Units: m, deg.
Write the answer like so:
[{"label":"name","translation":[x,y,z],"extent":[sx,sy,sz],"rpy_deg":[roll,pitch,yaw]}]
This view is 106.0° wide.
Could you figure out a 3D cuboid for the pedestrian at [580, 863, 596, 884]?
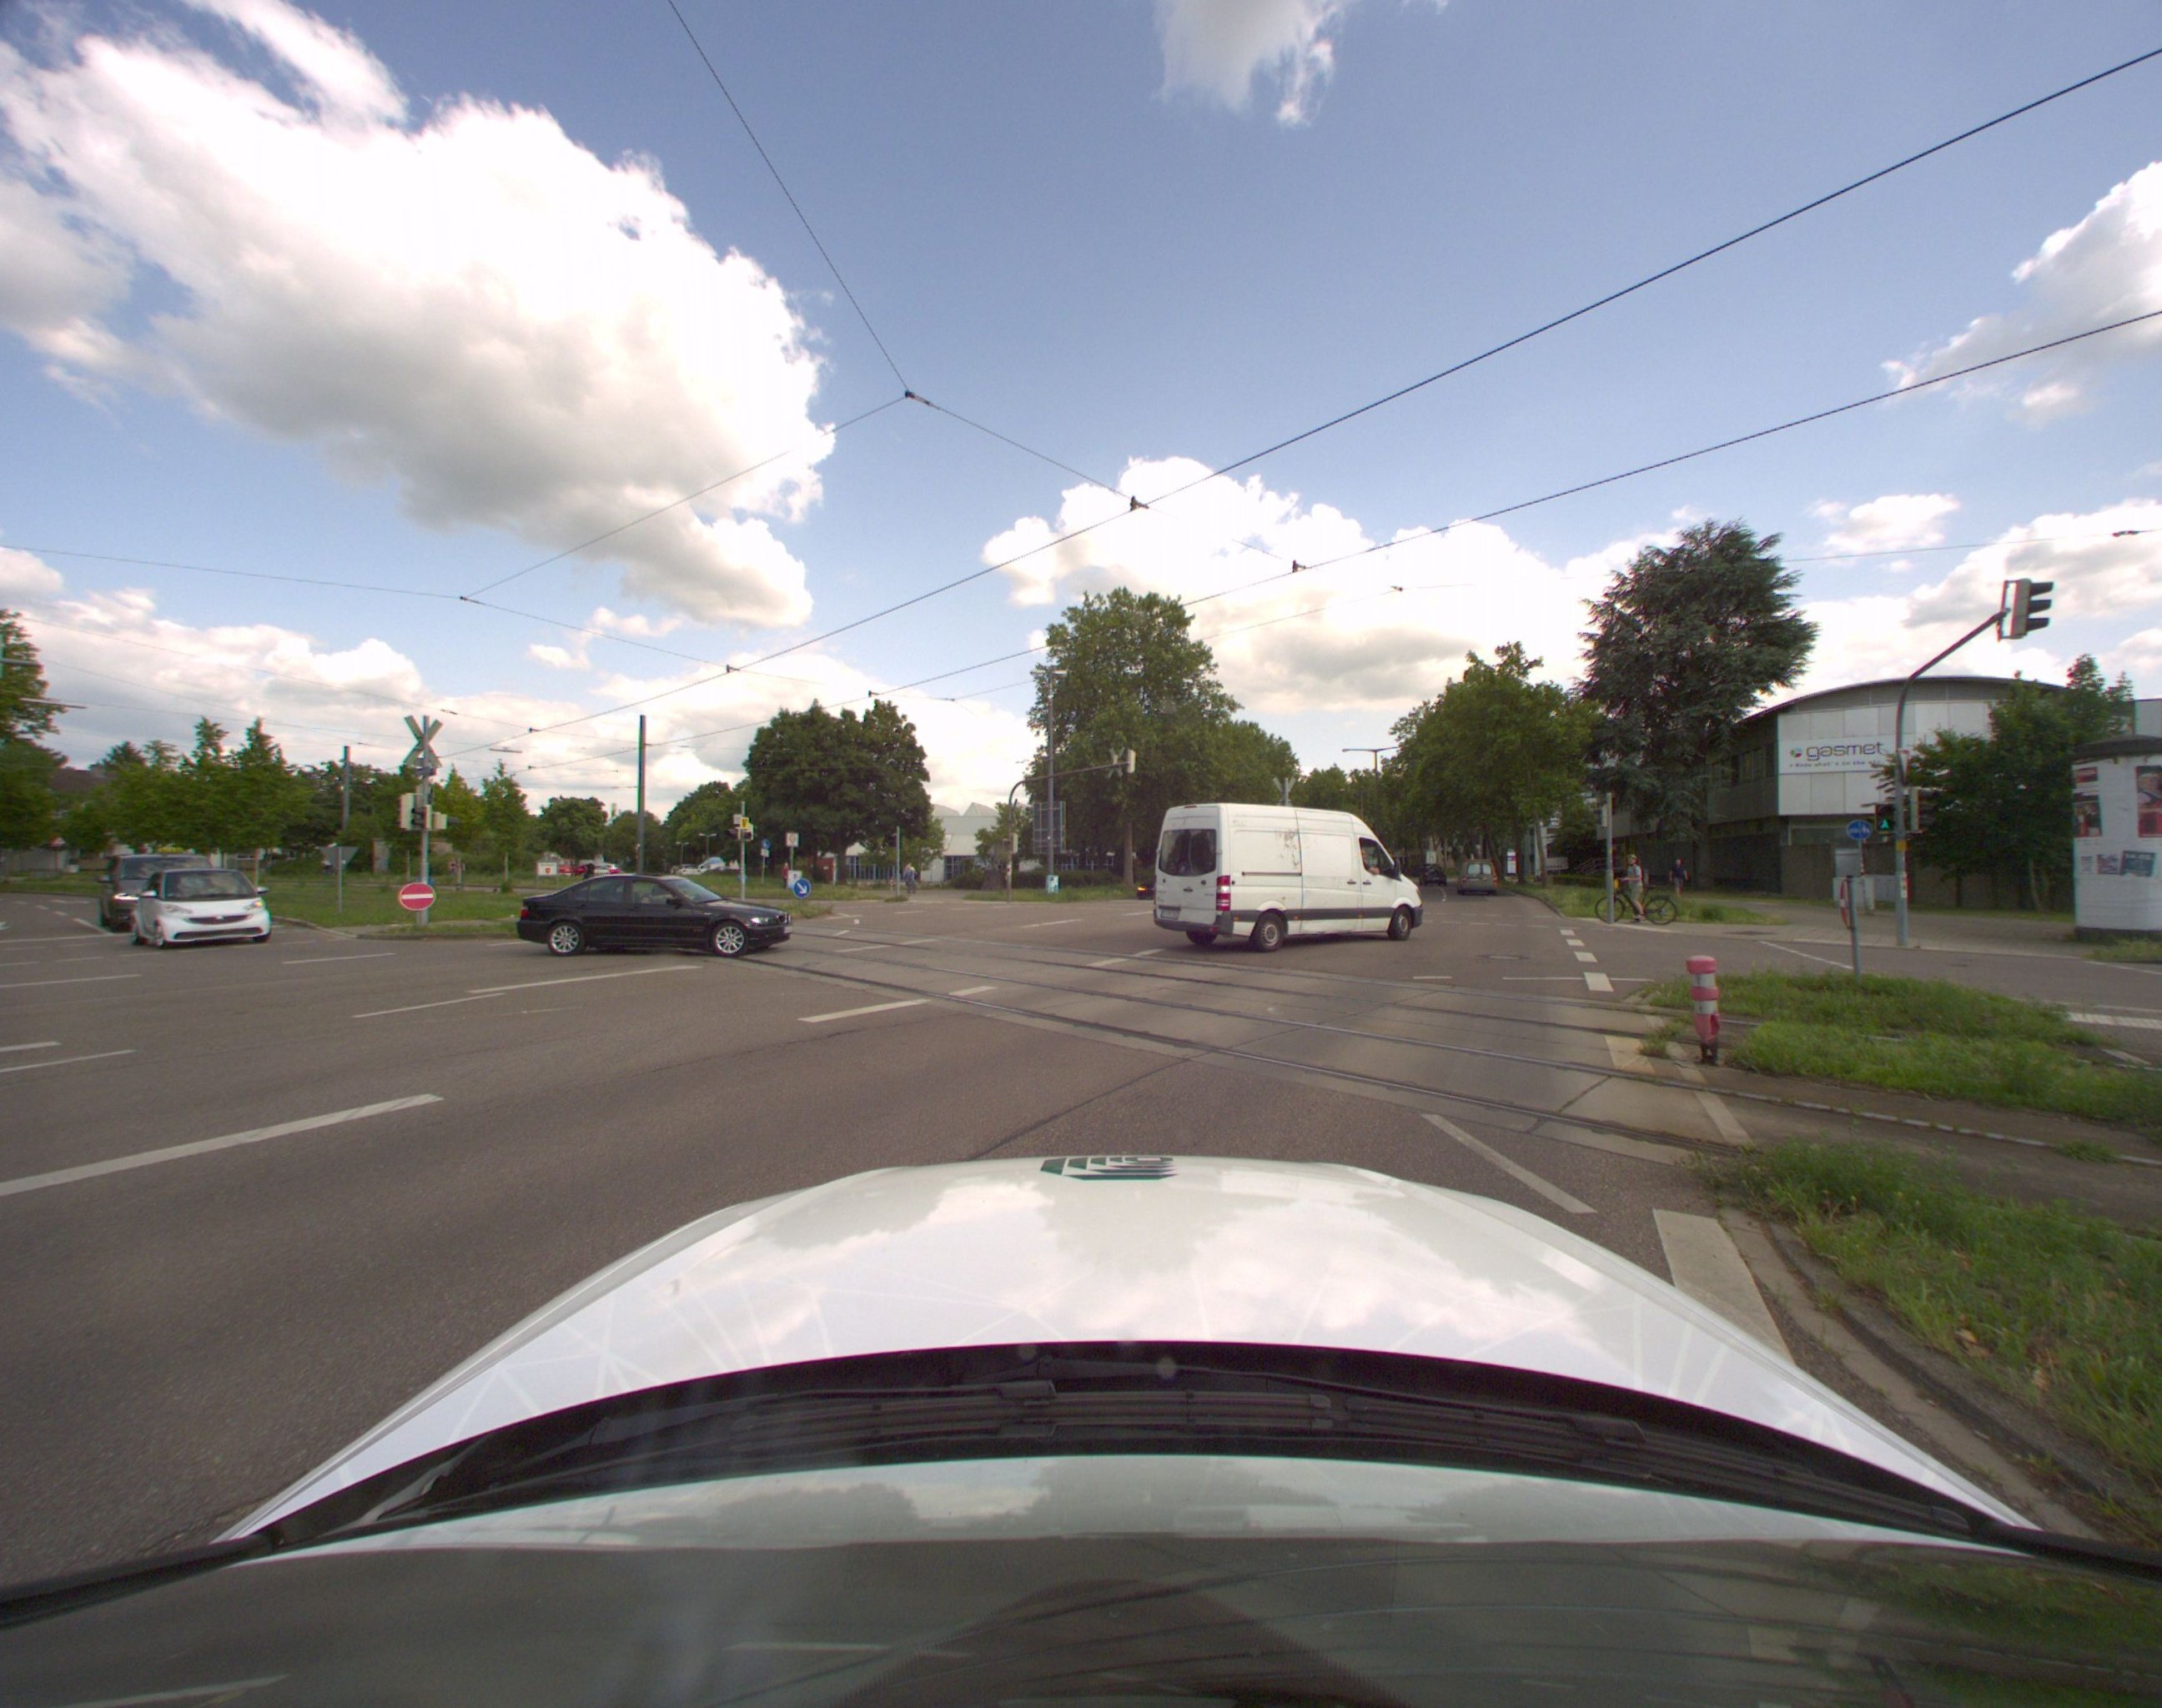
[{"label":"pedestrian","translation":[-33.121,1.297,54.694],"extent":[0.742,1.354,0.655],"rpy_deg":[-1,1,33]}]

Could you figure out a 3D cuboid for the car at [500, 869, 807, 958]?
[{"label":"car","translation":[-7.410,1.011,14.473],"extent":[4.442,1.431,1.810],"rpy_deg":[0,-2,-2]}]

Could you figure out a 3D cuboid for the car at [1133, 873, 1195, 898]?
[{"label":"car","translation":[4.348,1.629,42.255],"extent":[1.619,1.192,3.731],"rpy_deg":[-1,-1,33]}]

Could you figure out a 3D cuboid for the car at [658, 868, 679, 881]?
[{"label":"car","translation":[-52.706,2.588,104.062],"extent":[2.007,1.640,4.346],"rpy_deg":[1,-1,-32]}]

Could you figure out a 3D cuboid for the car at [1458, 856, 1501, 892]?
[{"label":"car","translation":[21.172,1.044,43.401],"extent":[1.861,1.800,4.394],"rpy_deg":[0,-1,23]}]

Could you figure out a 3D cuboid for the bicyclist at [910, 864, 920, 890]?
[{"label":"bicyclist","translation":[-10.137,1.383,49.744],"extent":[0.486,1.554,0.553],"rpy_deg":[1,-2,-15]}]

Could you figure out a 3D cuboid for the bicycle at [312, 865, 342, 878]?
[{"label":"bicycle","translation":[-61.381,1.451,66.275],"extent":[1.962,1.040,0.956],"rpy_deg":[0,-1,18]}]

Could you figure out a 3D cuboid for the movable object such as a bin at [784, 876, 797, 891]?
[{"label":"movable object such as a bin","translation":[-16.529,1.665,46.357],"extent":[0.454,0.811,0.582],"rpy_deg":[-1,1,18]}]

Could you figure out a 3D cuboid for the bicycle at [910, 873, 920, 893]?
[{"label":"bicycle","translation":[-10.145,1.765,49.735],"extent":[0.561,1.130,1.373],"rpy_deg":[0,-1,-15]}]

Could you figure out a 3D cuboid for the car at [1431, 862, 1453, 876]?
[{"label":"car","translation":[46.838,1.933,105.606],"extent":[1.979,1.574,4.017],"rpy_deg":[-1,1,15]}]

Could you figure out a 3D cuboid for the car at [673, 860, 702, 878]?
[{"label":"car","translation":[-37.090,1.404,76.758],"extent":[2.007,1.640,4.346],"rpy_deg":[1,-1,-32]}]

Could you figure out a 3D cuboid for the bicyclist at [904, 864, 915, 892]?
[{"label":"bicyclist","translation":[-9.645,1.333,45.888],"extent":[0.485,1.554,0.555],"rpy_deg":[2,-3,-6]}]

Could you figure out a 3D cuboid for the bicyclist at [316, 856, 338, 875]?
[{"label":"bicyclist","translation":[-61.388,0.929,66.309],"extent":[0.827,1.489,0.967],"rpy_deg":[0,-1,17]}]

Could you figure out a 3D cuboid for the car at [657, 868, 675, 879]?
[{"label":"car","translation":[-62.322,2.882,122.294],"extent":[2.007,1.640,4.346],"rpy_deg":[1,-1,-32]}]

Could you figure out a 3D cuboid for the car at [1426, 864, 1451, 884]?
[{"label":"car","translation":[29.399,1.652,66.986],"extent":[1.715,1.630,4.073],"rpy_deg":[-1,-2,22]}]

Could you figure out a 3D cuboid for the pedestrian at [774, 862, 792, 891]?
[{"label":"pedestrian","translation":[-17.013,1.274,46.500],"extent":[0.631,1.644,0.616],"rpy_deg":[-1,1,18]}]

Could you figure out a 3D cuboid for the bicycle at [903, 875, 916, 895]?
[{"label":"bicycle","translation":[-9.651,1.729,45.876],"extent":[0.560,1.130,1.377],"rpy_deg":[1,-2,-5]}]

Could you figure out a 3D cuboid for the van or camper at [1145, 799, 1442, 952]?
[{"label":"van or camper","translation":[4.260,0.389,15.837],"extent":[6.057,2.524,1.962],"rpy_deg":[1,-1,-32]}]

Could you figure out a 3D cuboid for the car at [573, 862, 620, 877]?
[{"label":"car","translation":[-49.049,1.552,82.418],"extent":[4.014,1.530,1.980],"rpy_deg":[0,-1,-32]}]

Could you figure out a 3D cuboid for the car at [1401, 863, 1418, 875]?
[{"label":"car","translation":[50.738,2.303,125.852],"extent":[1.979,1.574,4.017],"rpy_deg":[-1,1,15]}]

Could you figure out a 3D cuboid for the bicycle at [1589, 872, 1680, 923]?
[{"label":"bicycle","translation":[14.392,1.115,21.205],"extent":[1.927,1.235,0.544],"rpy_deg":[0,1,36]}]

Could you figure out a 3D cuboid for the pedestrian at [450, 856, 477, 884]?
[{"label":"pedestrian","translation":[-45.313,1.180,59.751],"extent":[1.163,2.014,1.112],"rpy_deg":[0,-1,24]}]

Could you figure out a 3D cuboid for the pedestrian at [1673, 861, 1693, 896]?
[{"label":"pedestrian","translation":[27.291,1.098,36.937],"extent":[0.615,1.569,0.562],"rpy_deg":[-1,1,26]}]

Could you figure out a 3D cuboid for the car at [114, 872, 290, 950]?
[{"label":"car","translation":[-18.589,1.109,17.175],"extent":[4.326,1.431,1.823],"rpy_deg":[0,-1,33]}]

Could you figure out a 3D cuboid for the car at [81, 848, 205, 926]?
[{"label":"car","translation":[-28.367,0.947,24.612],"extent":[4.326,2.155,1.867],"rpy_deg":[0,-1,33]}]

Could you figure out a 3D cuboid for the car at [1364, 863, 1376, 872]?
[{"label":"car","translation":[58.750,2.726,165.347],"extent":[1.979,1.574,4.017],"rpy_deg":[-1,1,15]}]

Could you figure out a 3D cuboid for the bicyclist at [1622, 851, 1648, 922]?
[{"label":"bicyclist","translation":[14.408,0.834,21.184],"extent":[0.538,1.809,0.544],"rpy_deg":[-1,1,36]}]

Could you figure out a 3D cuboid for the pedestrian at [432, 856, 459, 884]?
[{"label":"pedestrian","translation":[-45.799,1.157,58.659],"extent":[1.162,2.014,1.113],"rpy_deg":[0,-1,25]}]
